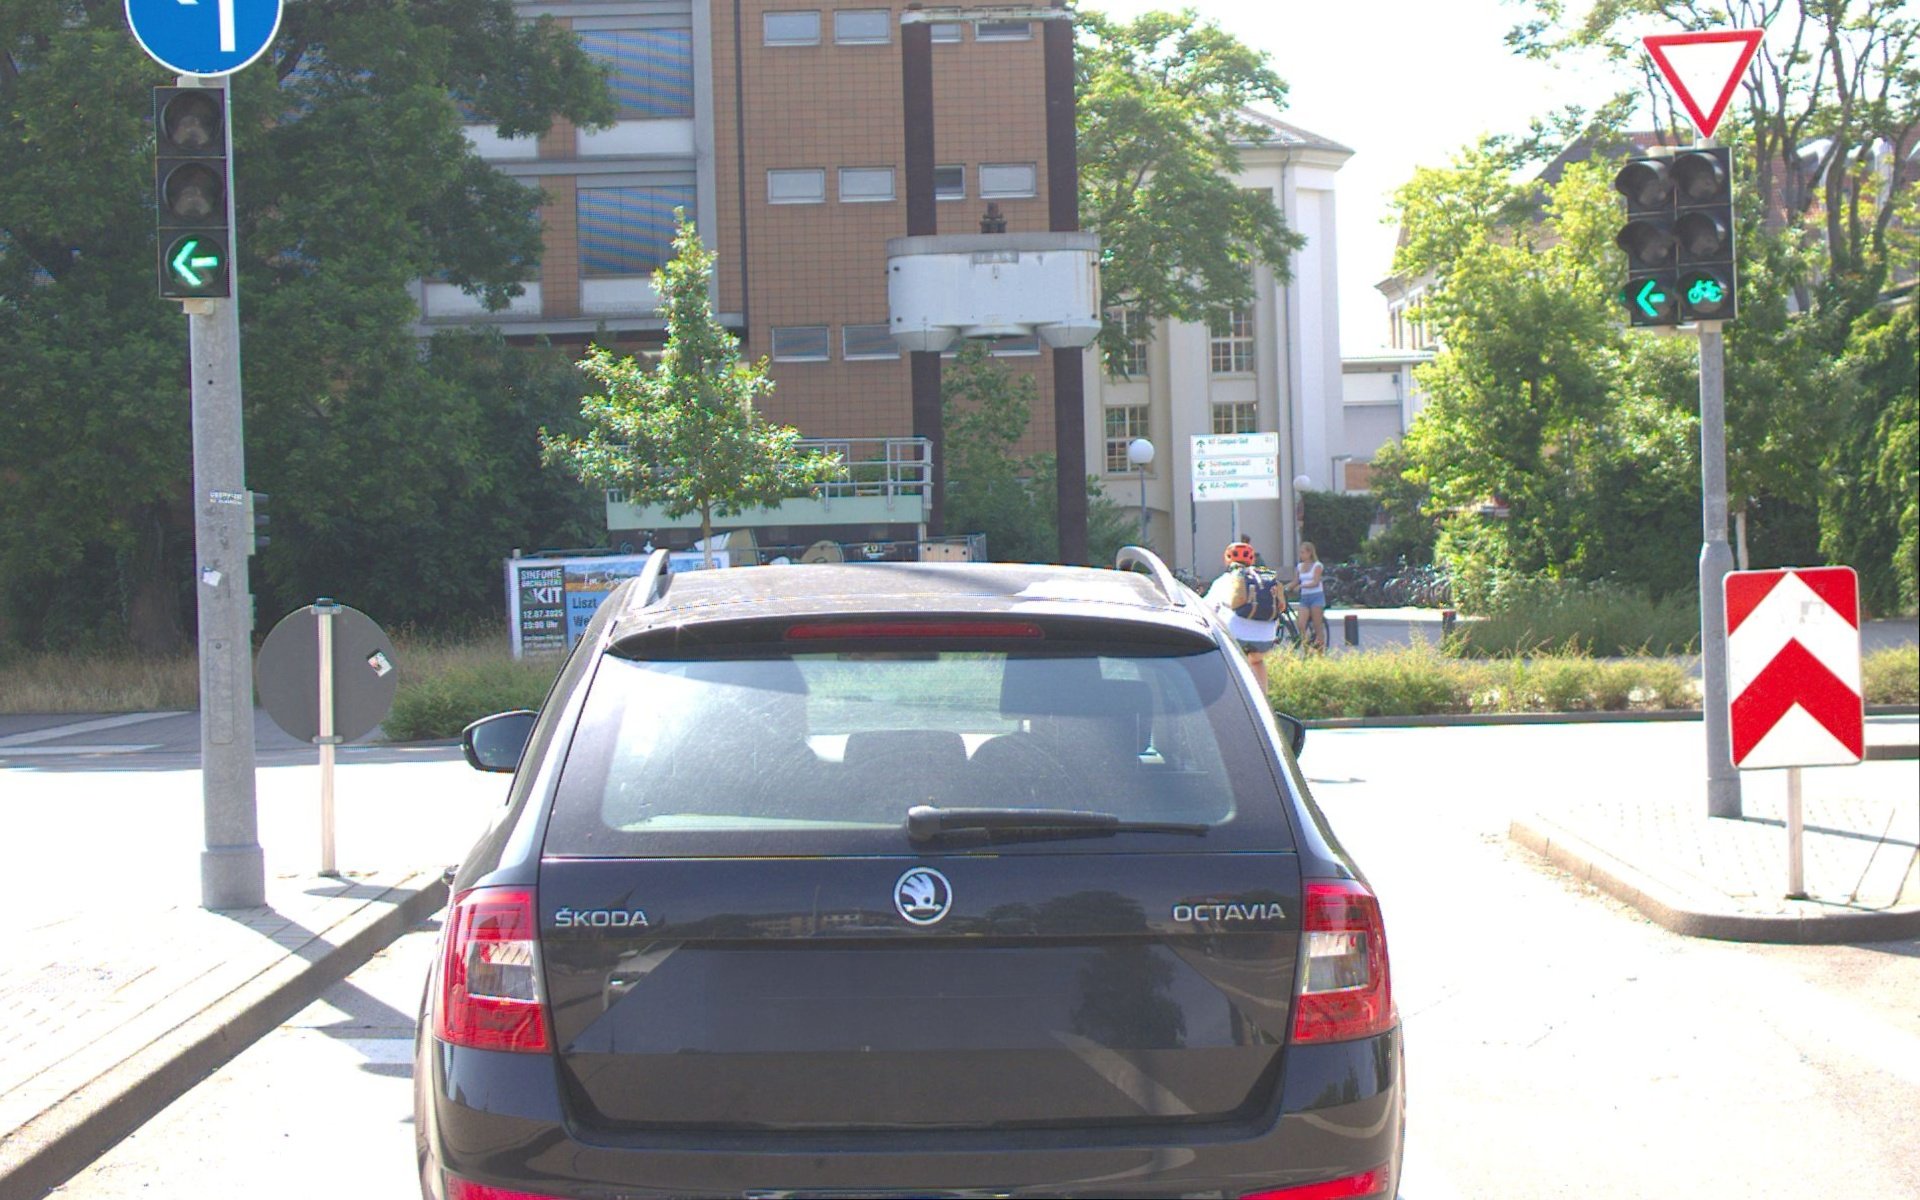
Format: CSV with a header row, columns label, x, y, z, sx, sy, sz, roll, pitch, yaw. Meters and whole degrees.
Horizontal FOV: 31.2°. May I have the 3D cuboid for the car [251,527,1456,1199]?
label,x,y,z,sx,sy,sz,roll,pitch,yaw
car,-0.143,0.588,6.990,1.780,1.438,3.818,0,1,1

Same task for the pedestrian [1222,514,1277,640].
label,x,y,z,sx,sy,sz,roll,pitch,yaw
pedestrian,4.358,-0.348,51.727,0.597,1.868,0.638,-2,0,23

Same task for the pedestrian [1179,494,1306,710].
label,x,y,z,sx,sy,sz,roll,pitch,yaw
pedestrian,1.946,0.009,23.778,0.583,1.461,1.014,0,0,-13

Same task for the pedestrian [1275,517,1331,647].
label,x,y,z,sx,sy,sz,roll,pitch,yaw
pedestrian,5.067,-0.271,50.819,0.637,1.868,0.796,-3,1,-1

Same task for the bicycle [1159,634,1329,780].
label,x,y,z,sx,sy,sz,roll,pitch,yaw
bicycle,1.947,0.721,23.825,0.596,0.928,2.029,0,0,-12

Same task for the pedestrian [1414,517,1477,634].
label,x,y,z,sx,sy,sz,roll,pitch,yaw
pedestrian,8.008,-0.407,56.655,0.795,1.868,0.638,-3,1,23
